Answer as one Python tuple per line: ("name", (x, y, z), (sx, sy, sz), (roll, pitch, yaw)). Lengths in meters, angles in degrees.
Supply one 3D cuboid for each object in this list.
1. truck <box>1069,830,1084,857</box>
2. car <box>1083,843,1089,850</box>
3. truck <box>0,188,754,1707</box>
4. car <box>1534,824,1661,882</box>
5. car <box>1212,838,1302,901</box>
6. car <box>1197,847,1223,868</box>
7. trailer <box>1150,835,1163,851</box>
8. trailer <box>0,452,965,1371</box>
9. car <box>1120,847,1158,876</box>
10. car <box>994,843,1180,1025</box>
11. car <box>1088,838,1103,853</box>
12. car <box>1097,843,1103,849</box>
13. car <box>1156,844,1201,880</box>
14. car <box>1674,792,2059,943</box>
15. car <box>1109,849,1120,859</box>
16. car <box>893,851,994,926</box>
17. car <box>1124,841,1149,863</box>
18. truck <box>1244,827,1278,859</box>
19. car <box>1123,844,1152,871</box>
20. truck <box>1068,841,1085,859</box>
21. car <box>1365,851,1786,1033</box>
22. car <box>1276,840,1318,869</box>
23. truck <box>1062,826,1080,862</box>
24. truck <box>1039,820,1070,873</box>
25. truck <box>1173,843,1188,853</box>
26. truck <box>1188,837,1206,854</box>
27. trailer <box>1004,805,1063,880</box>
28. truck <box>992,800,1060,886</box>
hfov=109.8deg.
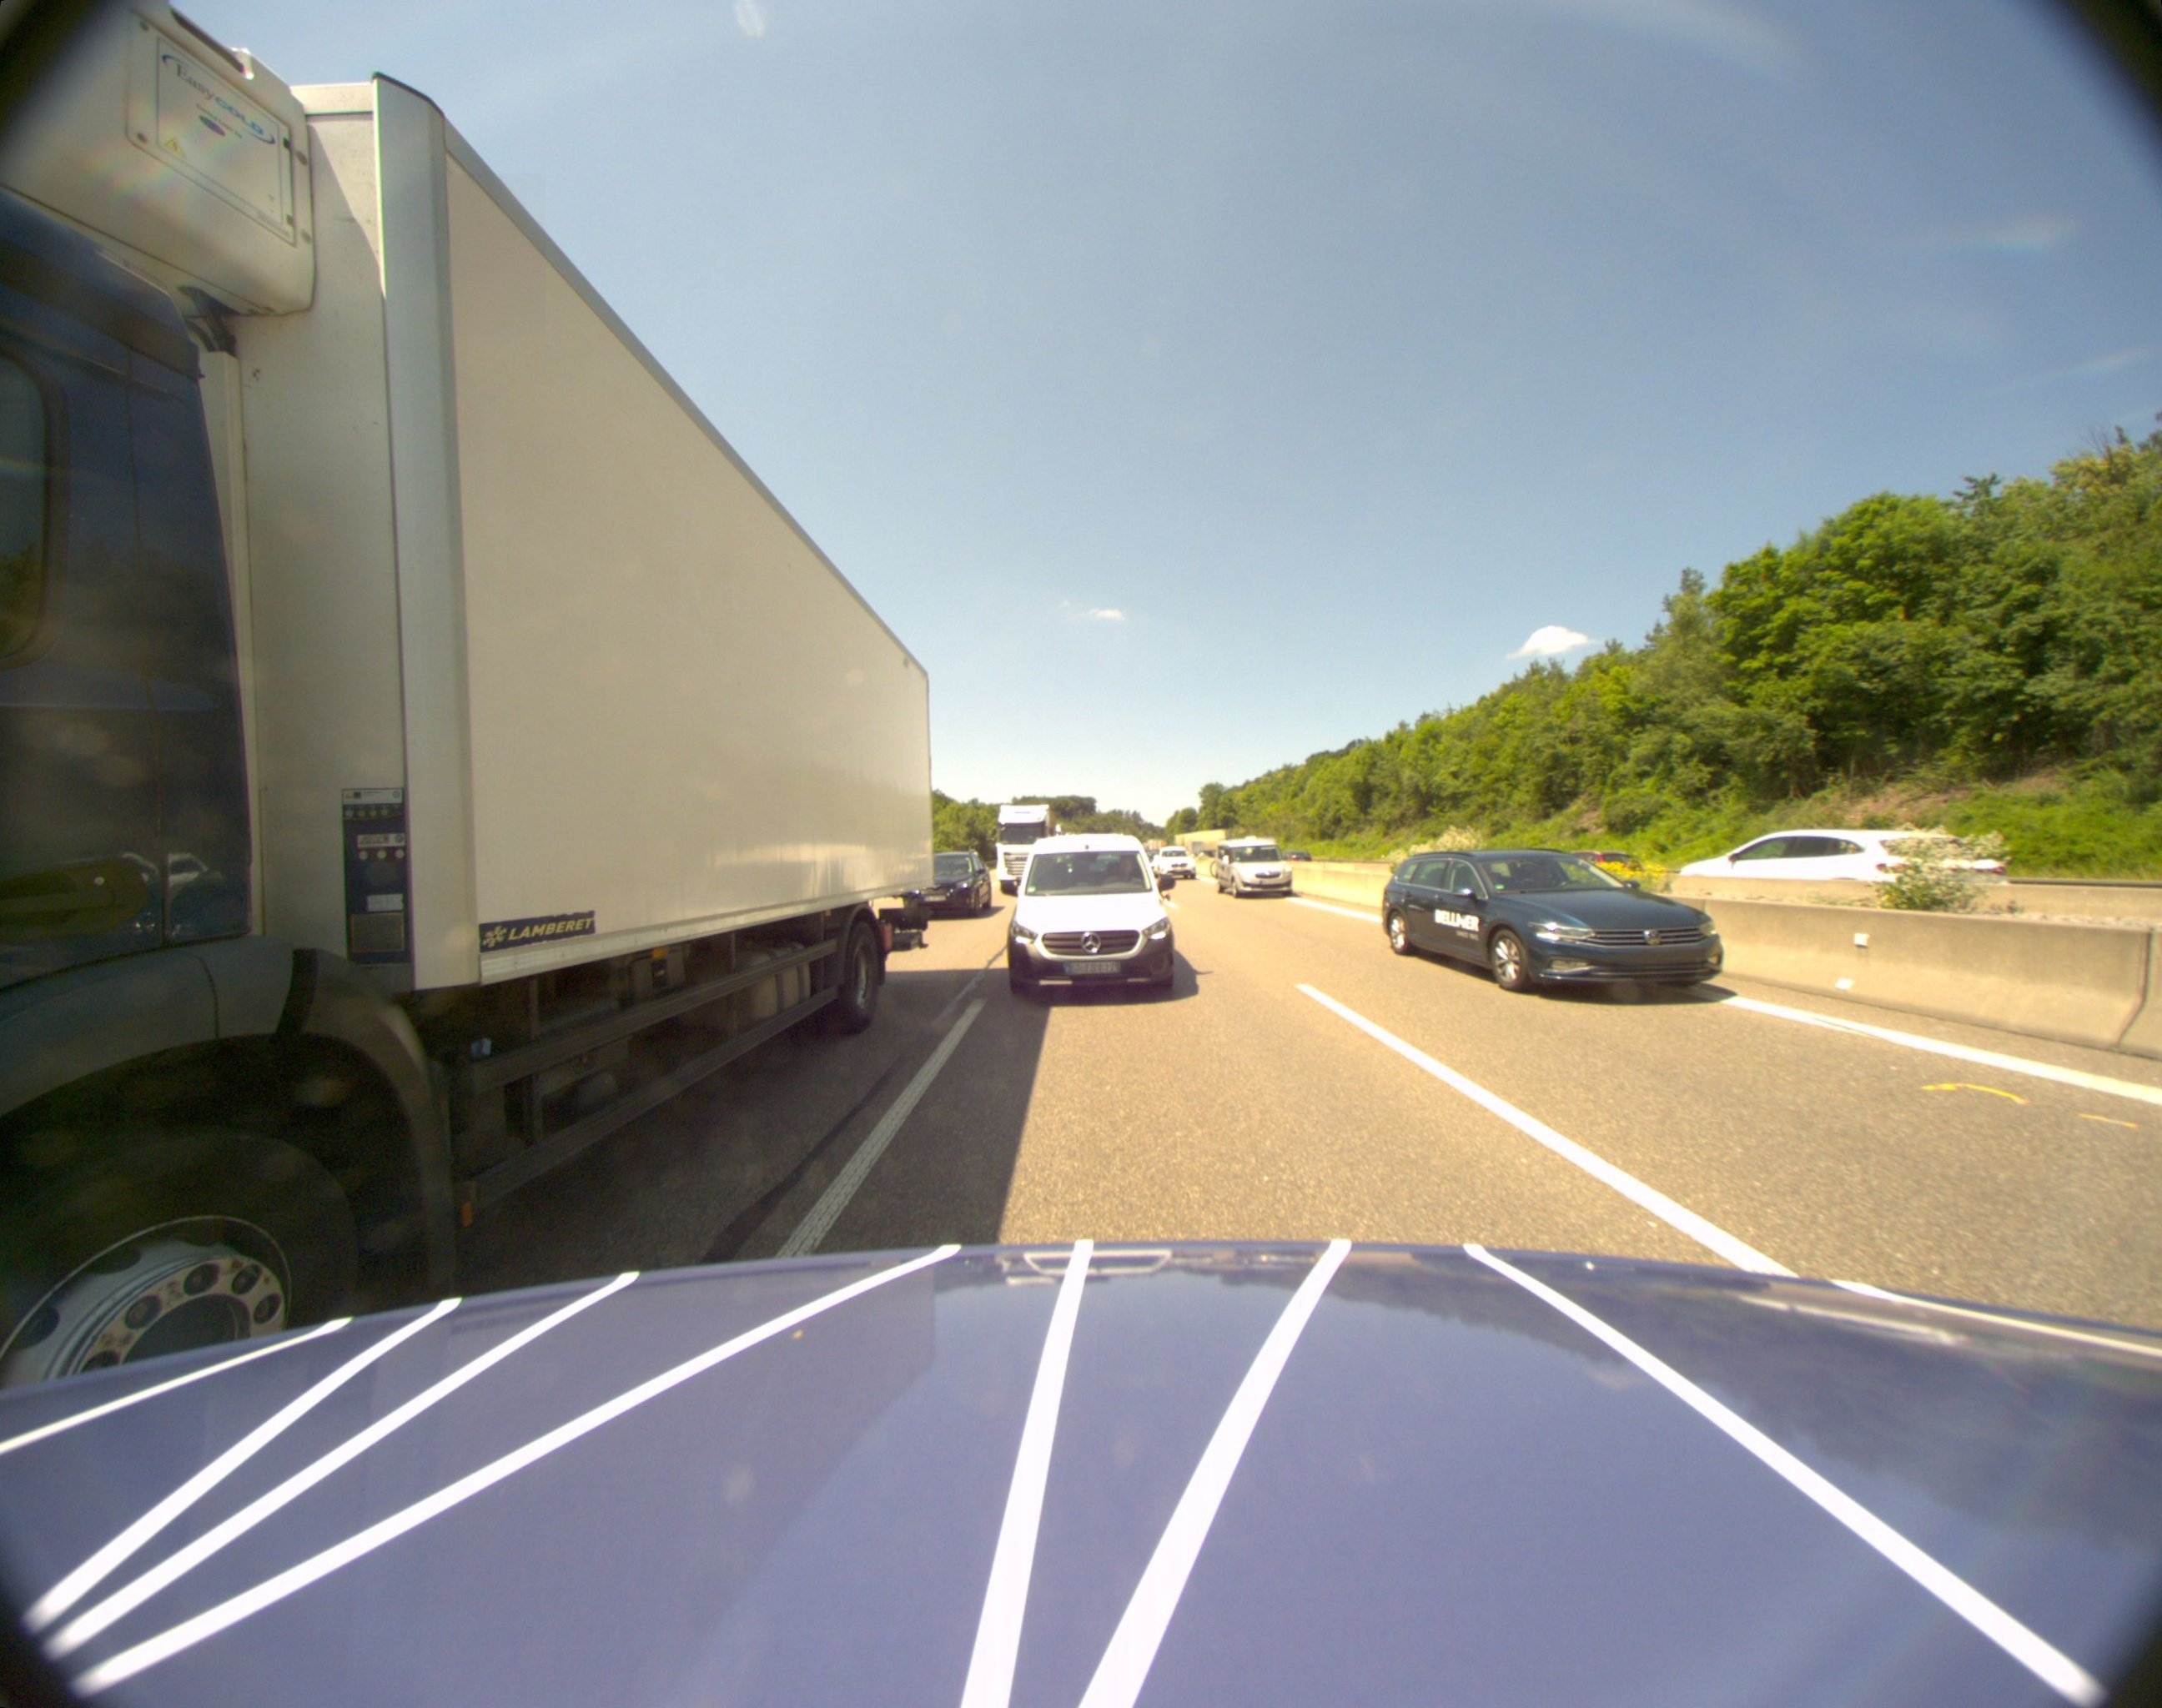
("truck", (-0.641, -1.601, 121.525), (2.187, 4.073, 10.868), (-2, 0, 0))
("car", (1.536, -2.518, 250.838), (1.998, 2.002, 3.998), (-2, 2, 0))
("truck", (-3.163, 0.276, 2.088), (2.562, 2.924, 4.103), (-1, 2, 2))
("car", (19.480, -0.089, 28.918), (1.998, 2.002, 4.282), (-2, 1, 1))
("car", (5.591, 0.410, 24.768), (1.857, 1.762, 4.917), (-2, 1, 2))
("car", (12.878, 0.346, 75.843), (1.911, 1.871, 3.999), (-2, 1, 0))
("trailer", (22.364, -3.255, 226.148), (2.956, 4.456, 10.814), (-2, 1, 1))
("trailer", (-3.039, 0.190, 6.372), (2.562, 2.882, 7.882), (-2, 1, 2))
("car", (3.747, 0.451, 49.666), (1.999, 1.747, 3.998), (-2, 1, -1))
("car", (0.106, 0.752, 9.565), (1.756, 1.681, 4.363), (-2, 1, 1))
("car", (2.164, -1.288, 113.589), (1.999, 2.002, 3.998), (-2, 2, -1))
("car", (6.380, -2.823, 258.124), (1.998, 2.002, 3.998), (-2, 2, 0))
("car", (5.048, 0.352, 39.873), (1.824, 1.696, 3.999), (-2, 1, 1))
("car", (12.398, 0.133, 12.506), (1.998, 2.002, 4.192), (-2, 1, 0))
("car", (5.805, -0.009, 131.947), (1.803, 1.660, 4.000), (-2, 0, 0))
("car", (-3.540, 0.805, 20.453), (1.999, 1.682, 4.609), (-1, 1, -2))
("car", (5.362, -0.225, 74.140), (1.999, 2.002, 3.998), (-2, 2, -1))
("truck", (24.238, -1.518, 102.468), (2.699, 3.967, 7.988), (-2, 1, 1))
("car", (4.365, 0.284, 59.277), (1.998, 2.001, 4.001), (0, -1, 1))
("truck", (-1.138, -1.039, 192.458), (4.084, 4.403, 11.396), (-2, 0, 0))
("car", (5.113, 0.744, 8.843), (1.879, 1.442, 4.677), (-2, 1, 1))
("car", (16.159, -0.026, 57.127), (1.998, 2.002, 3.999), (-2, 2, 0))
("truck", (-1.245, -1.215, 98.429), (2.187, 4.438, 10.868), (-2, 0, 0))
("truck", (-2.383, -0.633, 70.915), (2.394, 4.438, 10.868), (-2, 0, 0))
("truck", (21.799, -1.282, 167.107), (2.357, 2.002, 6.490), (-2, 1, 0))
("truck", (21.166, -1.626, 139.262), (2.183, 2.868, 6.740), (-2, 1, 0))
("trailer", (-2.740, -0.771, 47.179), (2.766, 4.061, 11.614), (0, 1, 1))
("truck", (-2.776, -0.635, 40.461), (2.766, 4.061, 7.332), (-2, 2, 1))
